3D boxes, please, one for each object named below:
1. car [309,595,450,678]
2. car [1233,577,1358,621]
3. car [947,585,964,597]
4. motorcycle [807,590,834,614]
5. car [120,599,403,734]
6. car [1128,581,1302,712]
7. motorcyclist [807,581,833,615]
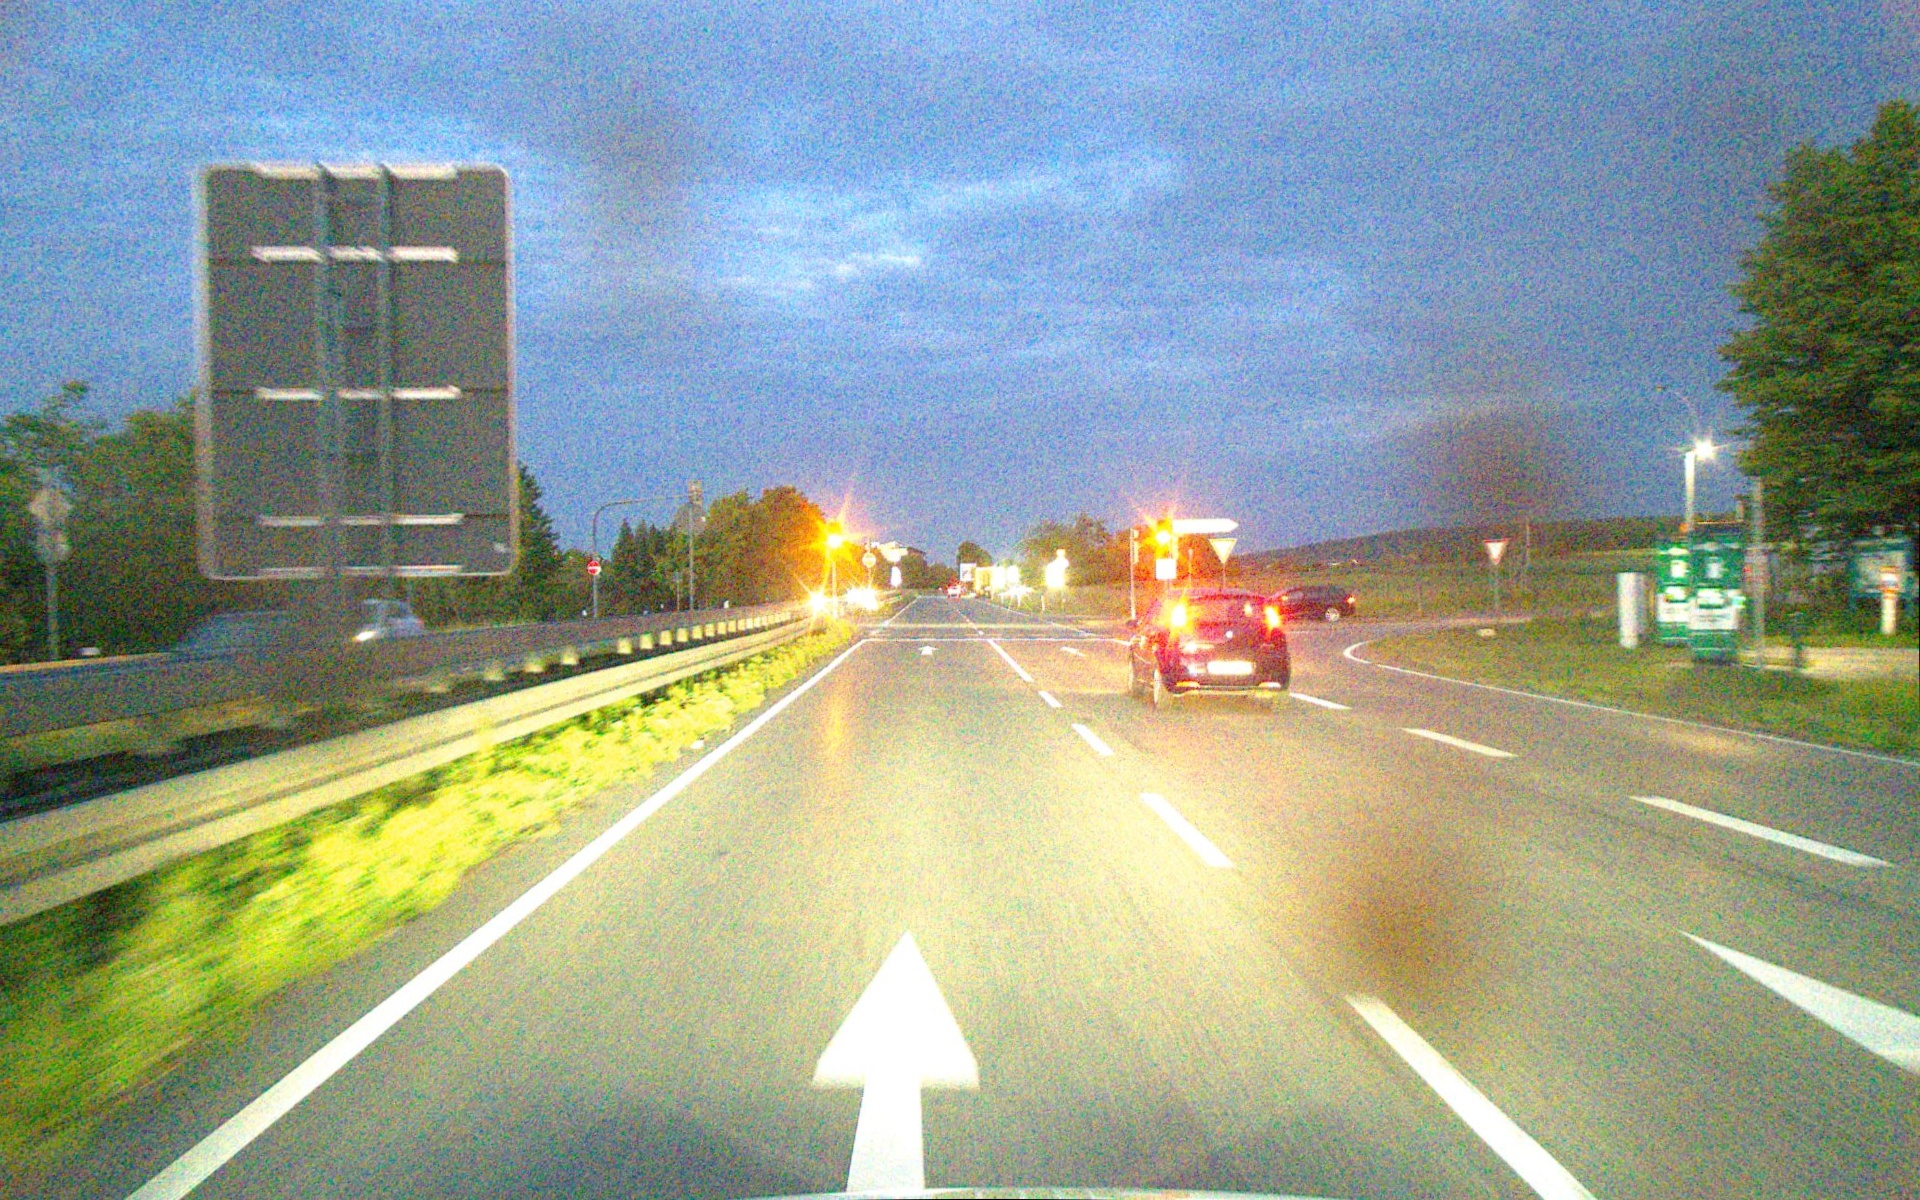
[{"bbox_3d":[-12.846,0.762,36.883,1.759,1.700,4.499,0,0,-3],"label":"car"},{"bbox_3d":[13.256,-0.054,65.591,4.507,1.547,2.000,-2,0,-1],"label":"car"},{"bbox_3d":[-0.655,-1.328,237.448,2.228,1.660,3.999,-1,0,-2],"label":"car"},{"bbox_3d":[-6.850,0.100,81.424,0.958,1.118,2.510,-2,1,4],"label":"motorcycle"},{"bbox_3d":[-8.780,0.760,21.253,1.882,1.456,4.499,-2,1,-3],"label":"car"},{"bbox_3d":[3.217,0.538,21.554,1.636,1.547,4.106,0,0,0],"label":"car"},{"bbox_3d":[-6.871,-0.114,81.411,1.113,1.612,0.973,-2,0,3],"label":"motorcyclist"}]
